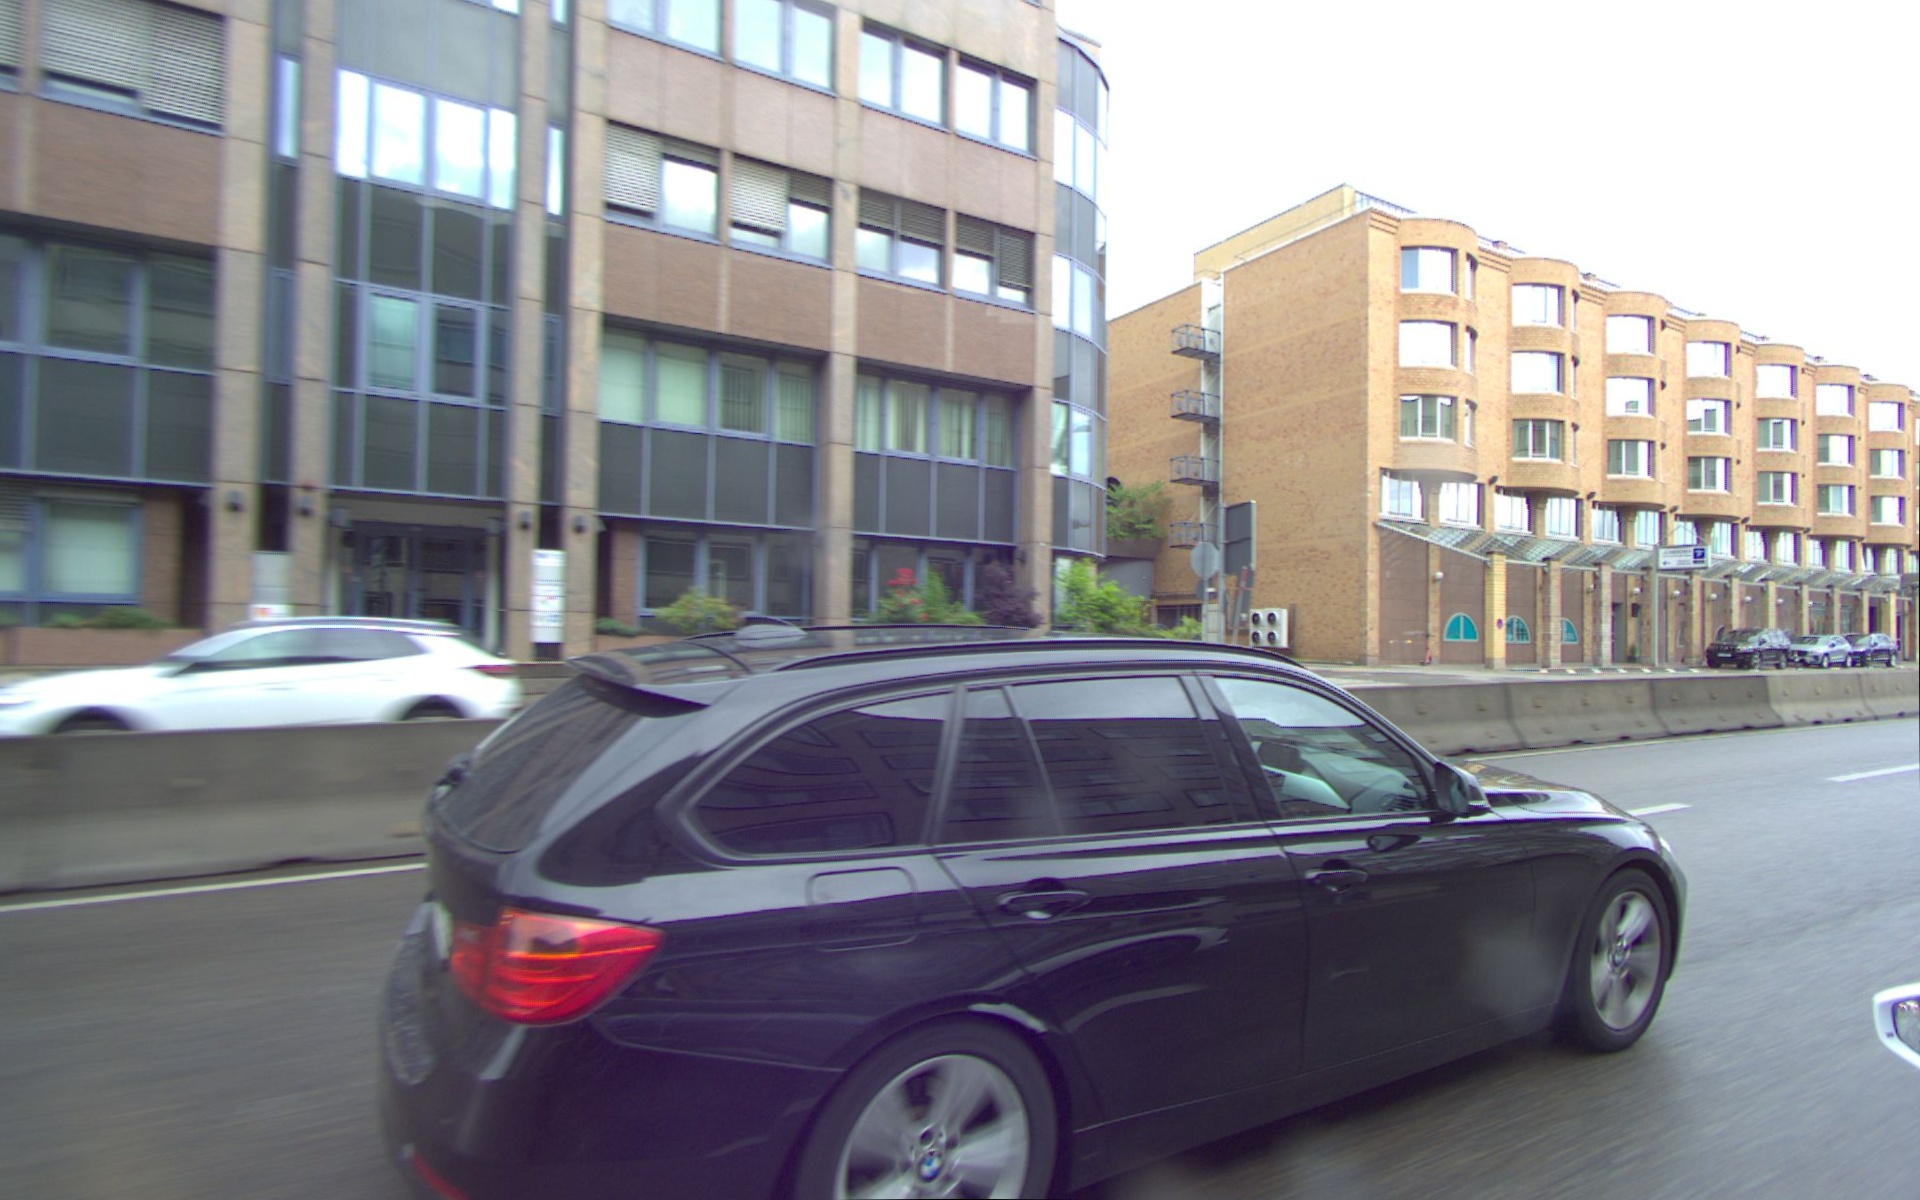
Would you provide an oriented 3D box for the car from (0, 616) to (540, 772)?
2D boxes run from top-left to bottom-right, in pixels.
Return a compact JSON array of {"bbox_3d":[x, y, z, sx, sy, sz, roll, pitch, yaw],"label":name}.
[{"bbox_3d":[-6.808,0.834,10.135,4.500,1.286,1.834,1,-2,-33],"label":"car"}]

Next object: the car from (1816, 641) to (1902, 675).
[{"bbox_3d":[48.110,3.062,53.729,4.991,1.713,1.984,1,-2,-31],"label":"car"}]

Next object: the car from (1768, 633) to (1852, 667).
[{"bbox_3d":[43.275,2.518,51.132,4.489,1.615,1.983,1,-2,-32],"label":"car"}]

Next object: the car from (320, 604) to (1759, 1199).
[{"bbox_3d":[0.620,0.801,3.380,4.603,1.462,1.759,1,-2,-31],"label":"car"}]

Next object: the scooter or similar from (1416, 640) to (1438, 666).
[{"bbox_3d":[19.083,2.161,41.047,1.037,1.077,0.445,2,-2,-41],"label":"scooter or similar"}]

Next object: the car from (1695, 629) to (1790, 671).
[{"bbox_3d":[37.001,2.336,47.485,4.958,1.911,1.983,1,-2,-32],"label":"car"}]
